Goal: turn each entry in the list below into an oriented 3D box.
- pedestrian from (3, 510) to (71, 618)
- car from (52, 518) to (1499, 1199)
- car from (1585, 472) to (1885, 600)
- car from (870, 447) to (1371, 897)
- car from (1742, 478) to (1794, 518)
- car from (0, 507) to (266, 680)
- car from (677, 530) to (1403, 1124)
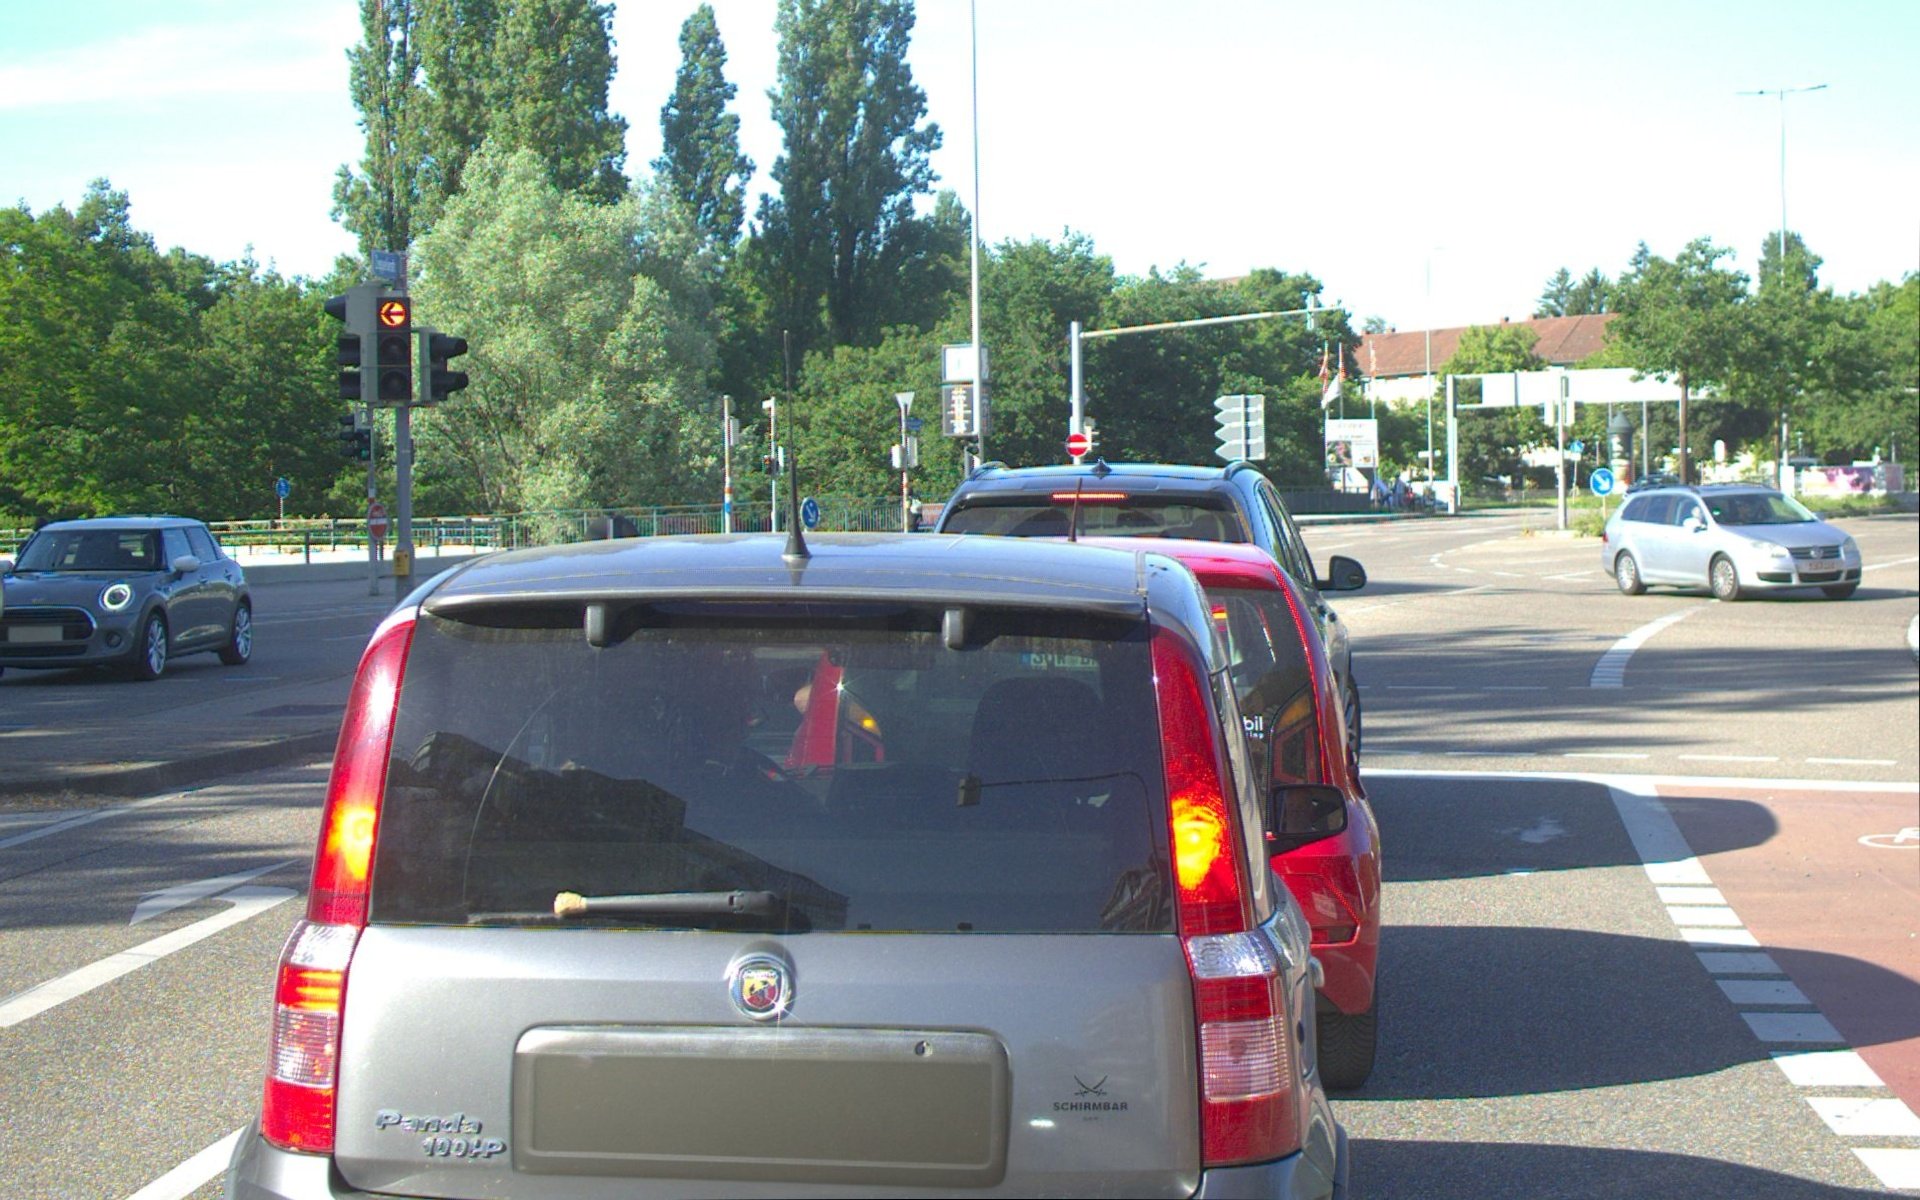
[{"bbox_3d":[-13.838,-0.528,51.561,0.686,1.533,1.366,0,-4,-3],"label":"pedestrian"},{"bbox_3d":[-0.146,0.623,6.355,1.820,1.484,4.000,2,2,3],"label":"car"},{"bbox_3d":[9.853,-0.859,44.067,1.750,1.488,4.351,-1,3,-18],"label":"car"},{"bbox_3d":[0.895,0.212,16.087,1.869,1.784,4.413,1,2,9],"label":"car"},{"bbox_3d":[41.259,-5.178,175.479,2.015,1.848,4.881,0,-1,20],"label":"car"},{"bbox_3d":[-7.782,-0.106,31.635,1.686,1.452,3.913,-1,2,5],"label":"car"},{"bbox_3d":[0.278,0.532,10.712,1.820,1.474,4.000,1,1,2],"label":"car"}]
